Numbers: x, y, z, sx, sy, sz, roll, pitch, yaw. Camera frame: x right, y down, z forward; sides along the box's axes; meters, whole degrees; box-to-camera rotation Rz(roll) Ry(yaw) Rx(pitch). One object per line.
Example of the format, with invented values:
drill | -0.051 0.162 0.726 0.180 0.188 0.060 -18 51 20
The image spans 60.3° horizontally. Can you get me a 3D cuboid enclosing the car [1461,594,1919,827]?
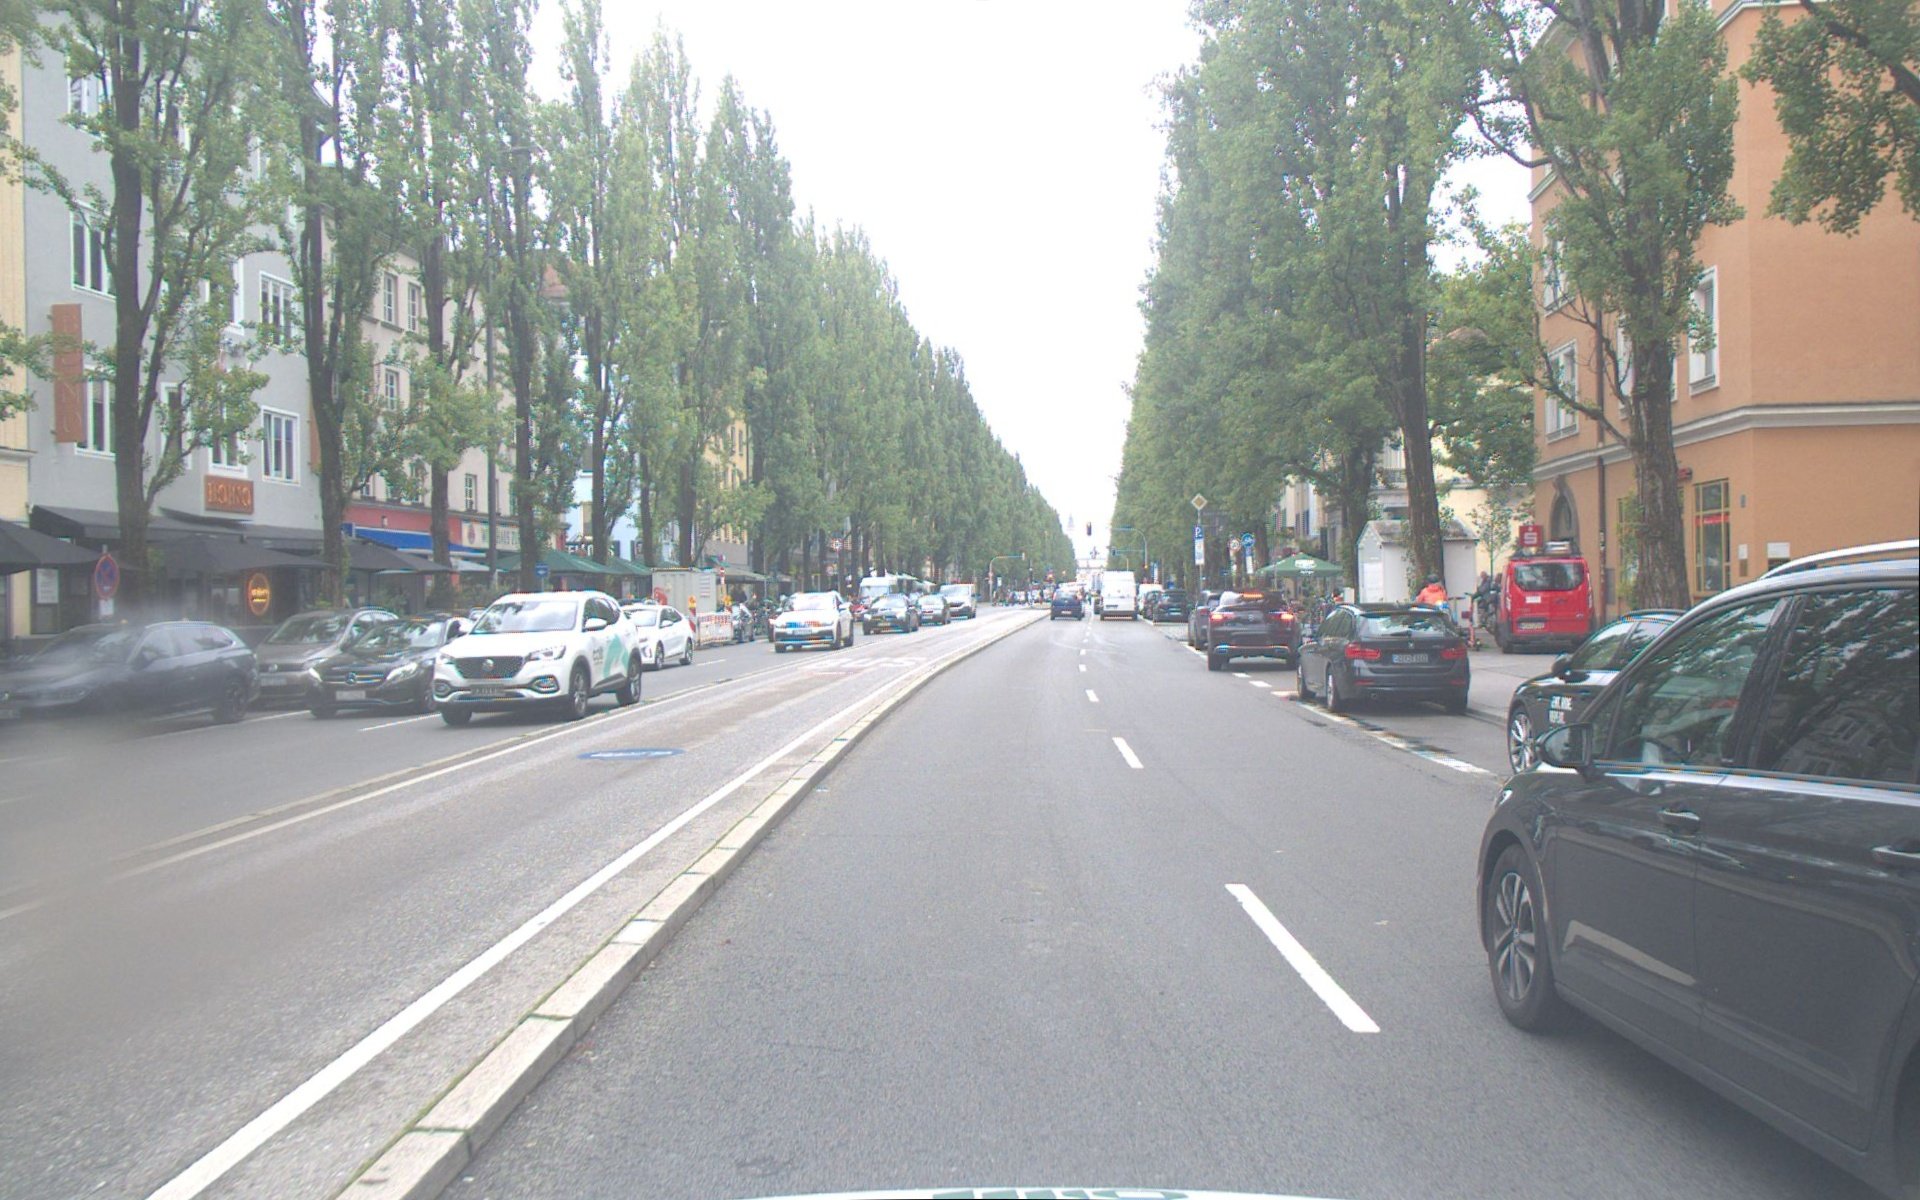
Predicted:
car | 5.446 0.707 12.889 1.809 1.453 4.426 -1 0 1

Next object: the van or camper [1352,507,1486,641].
van or camper | 11.707 -0.651 42.527 2.408 3.166 4.718 -2 0 5

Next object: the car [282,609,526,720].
car | -8.490 0.928 25.732 1.898 1.459 4.541 -2 0 5

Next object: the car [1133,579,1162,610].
car | 12.607 -0.373 111.500 1.767 2.027 4.002 0 0 4

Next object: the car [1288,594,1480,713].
car | 5.791 0.669 23.116 1.697 1.418 4.434 -2 0 3

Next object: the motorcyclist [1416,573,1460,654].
motorcyclist | 8.618 0.240 29.835 0.552 1.431 0.766 -2 0 1

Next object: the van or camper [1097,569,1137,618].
van or camper | 8.328 -0.322 87.994 1.992 2.519 4.002 -1 -1 4

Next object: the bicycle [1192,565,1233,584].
bicycle | 14.382 -1.444 94.256 0.751 1.041 2.706 -1 0 -30

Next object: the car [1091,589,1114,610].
car | 9.415 -0.029 109.196 1.472 1.336 3.285 -1 0 4

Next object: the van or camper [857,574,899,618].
van or camper | -4.909 -0.247 99.053 1.951 2.501 4.253 -1 0 4

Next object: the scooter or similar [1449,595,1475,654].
scooter or similar | 11.212 0.533 36.948 0.476 1.254 1.407 -3 0 17

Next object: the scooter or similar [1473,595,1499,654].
scooter or similar | 11.679 0.539 36.727 0.476 1.254 1.168 -3 0 17

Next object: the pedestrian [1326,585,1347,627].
pedestrian | 15.277 0.241 67.066 0.656 1.679 0.624 -1 0 31

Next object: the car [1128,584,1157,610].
car | 11.614 -0.178 105.516 1.725 1.624 4.002 0 0 4

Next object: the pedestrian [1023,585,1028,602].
pedestrian | 6.857 -0.647 173.085 0.541 1.746 0.493 -2 0 5

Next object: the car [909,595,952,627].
car | -1.379 0.502 77.828 1.676 1.438 3.725 -1 0 4

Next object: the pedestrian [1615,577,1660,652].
pedestrian | 15.322 0.326 37.431 0.714 1.654 0.805 -2 0 8

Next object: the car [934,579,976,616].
car | -0.244 -0.153 94.652 1.952 1.967 4.921 -3 0 4

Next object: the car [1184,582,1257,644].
car | 7.150 0.317 45.726 1.589 1.592 4.373 -1 0 4

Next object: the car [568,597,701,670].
car | -7.448 0.729 38.319 1.899 1.519 4.459 -2 0 4

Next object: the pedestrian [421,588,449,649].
pedestrian | -16.748 0.584 52.761 0.625 1.894 0.648 -2 0 4

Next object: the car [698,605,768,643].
car | -8.147 0.839 59.743 1.772 1.272 3.702 -1 0 4

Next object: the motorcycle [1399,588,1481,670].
motorcycle | 8.596 0.489 29.718 0.809 1.394 2.253 -2 0 1

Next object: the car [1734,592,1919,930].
car | 5.214 0.711 6.601 1.891 1.475 4.803 -1 0 -1

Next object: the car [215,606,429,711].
car | -10.742 0.930 28.172 1.766 1.545 4.003 -2 0 5

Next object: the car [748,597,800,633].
car | -7.476 0.583 66.609 1.480 1.368 3.239 -2 0 4

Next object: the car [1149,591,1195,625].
car | 10.148 0.370 79.277 1.903 1.493 4.002 -1 0 3

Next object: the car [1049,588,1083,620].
car | 5.675 0.208 88.258 1.722 1.648 3.749 0 0 5

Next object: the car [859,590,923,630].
car | -2.696 0.373 65.834 1.952 1.457 4.775 -2 0 4

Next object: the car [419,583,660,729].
car | -5.649 0.678 22.859 1.821 1.741 4.538 -2 0 4

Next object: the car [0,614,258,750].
car | -11.355 1.013 21.961 1.898 1.519 4.299 -2 0 5

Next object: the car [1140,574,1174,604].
car | 11.201 -0.623 94.138 1.767 1.624 4.002 0 0 4

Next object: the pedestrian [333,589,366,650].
pedestrian | -17.612 0.552 47.723 0.625 1.729 0.648 -2 0 4

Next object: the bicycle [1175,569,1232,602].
bicycle | 15.379 -0.913 104.471 3.473 2.049 1.298 0 -1 13

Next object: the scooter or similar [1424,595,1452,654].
scooter or similar | 10.744 0.536 37.158 0.514 1.254 1.478 -3 0 17

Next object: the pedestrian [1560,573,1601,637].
pedestrian | 16.324 0.119 43.536 0.803 1.641 0.779 -1 0 7

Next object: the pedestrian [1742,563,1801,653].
pedestrian | 14.646 0.137 29.854 0.596 1.578 0.710 -2 0 -23

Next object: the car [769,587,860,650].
car | -4.128 0.494 47.613 1.899 1.671 4.466 -2 0 4

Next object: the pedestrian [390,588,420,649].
pedestrian | -17.669 0.586 52.660 0.625 1.894 0.648 -2 0 4

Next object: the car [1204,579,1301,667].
car | 6.131 0.427 34.596 1.840 1.670 4.587 -1 0 11

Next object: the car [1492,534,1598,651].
car | 12.890 -0.181 36.672 1.861 2.368 4.828 -2 0 16

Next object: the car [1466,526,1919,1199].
car | 2.831 0.662 4.315 1.725 1.642 4.183 0 0 0

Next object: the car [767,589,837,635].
car | -5.739 0.442 60.606 1.809 1.592 4.214 -2 -1 4
